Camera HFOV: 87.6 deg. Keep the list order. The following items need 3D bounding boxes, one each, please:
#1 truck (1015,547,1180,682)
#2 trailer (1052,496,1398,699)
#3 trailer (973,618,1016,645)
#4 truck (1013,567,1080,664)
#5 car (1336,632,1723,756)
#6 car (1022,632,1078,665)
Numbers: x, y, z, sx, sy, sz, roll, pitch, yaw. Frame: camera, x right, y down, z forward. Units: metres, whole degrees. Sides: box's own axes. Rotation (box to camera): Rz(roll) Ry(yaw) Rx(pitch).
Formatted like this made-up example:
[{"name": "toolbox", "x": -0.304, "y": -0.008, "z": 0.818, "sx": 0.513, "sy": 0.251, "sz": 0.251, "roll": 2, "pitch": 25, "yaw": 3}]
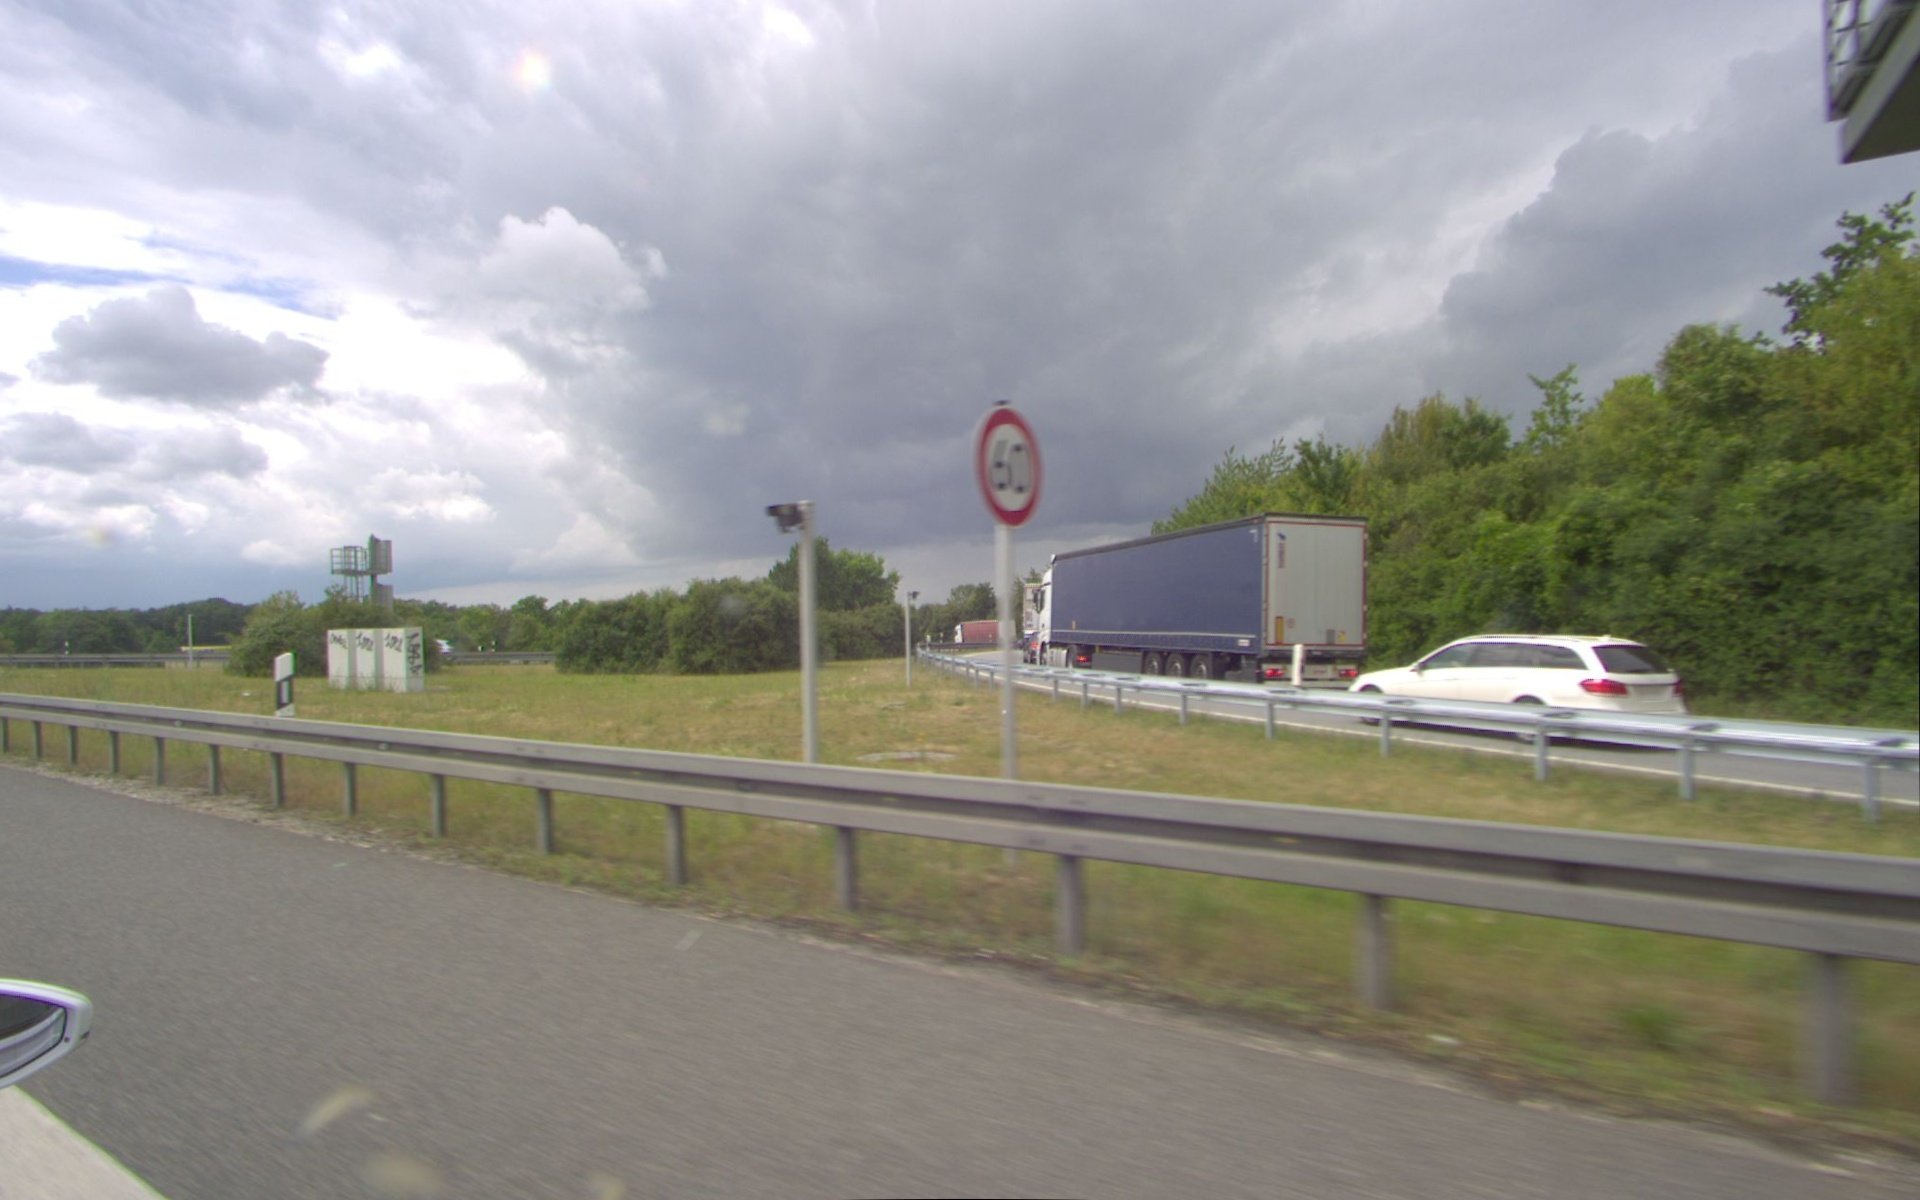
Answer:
[{"name": "truck", "x": 4.512, "y": 0.562, "z": 34.505, "sx": 3.310, "sy": 4.147, "sz": 6.782, "roll": 0, "pitch": -2, "yaw": -15}, {"name": "trailer", "x": 6.285, "y": 0.155, "z": 27.590, "sx": 3.281, "sy": 4.246, "sz": 13.018, "roll": 0, "pitch": -2, "yaw": -15}, {"name": "trailer", "x": 4.654, "y": 4.392, "z": 137.744, "sx": 3.076, "sy": 3.492, "sz": 11.681, "roll": 1, "pitch": -2, "yaw": -13}, {"name": "truck", "x": 4.503, "y": 0.915, "z": 52.708, "sx": 3.219, "sy": 4.673, "sz": 8.996, "roll": 0, "pitch": -2, "yaw": 5}, {"name": "car", "x": 8.276, "y": 1.258, "z": 15.163, "sx": 2.177, "sy": 1.520, "sz": 4.774, "roll": 0, "pitch": -1, "yaw": -22}, {"name": "car", "x": 3.868, "y": 2.105, "z": 43.906, "sx": 1.854, "sy": 1.379, "sz": 4.789, "roll": 1, "pitch": -2, "yaw": -2}]
